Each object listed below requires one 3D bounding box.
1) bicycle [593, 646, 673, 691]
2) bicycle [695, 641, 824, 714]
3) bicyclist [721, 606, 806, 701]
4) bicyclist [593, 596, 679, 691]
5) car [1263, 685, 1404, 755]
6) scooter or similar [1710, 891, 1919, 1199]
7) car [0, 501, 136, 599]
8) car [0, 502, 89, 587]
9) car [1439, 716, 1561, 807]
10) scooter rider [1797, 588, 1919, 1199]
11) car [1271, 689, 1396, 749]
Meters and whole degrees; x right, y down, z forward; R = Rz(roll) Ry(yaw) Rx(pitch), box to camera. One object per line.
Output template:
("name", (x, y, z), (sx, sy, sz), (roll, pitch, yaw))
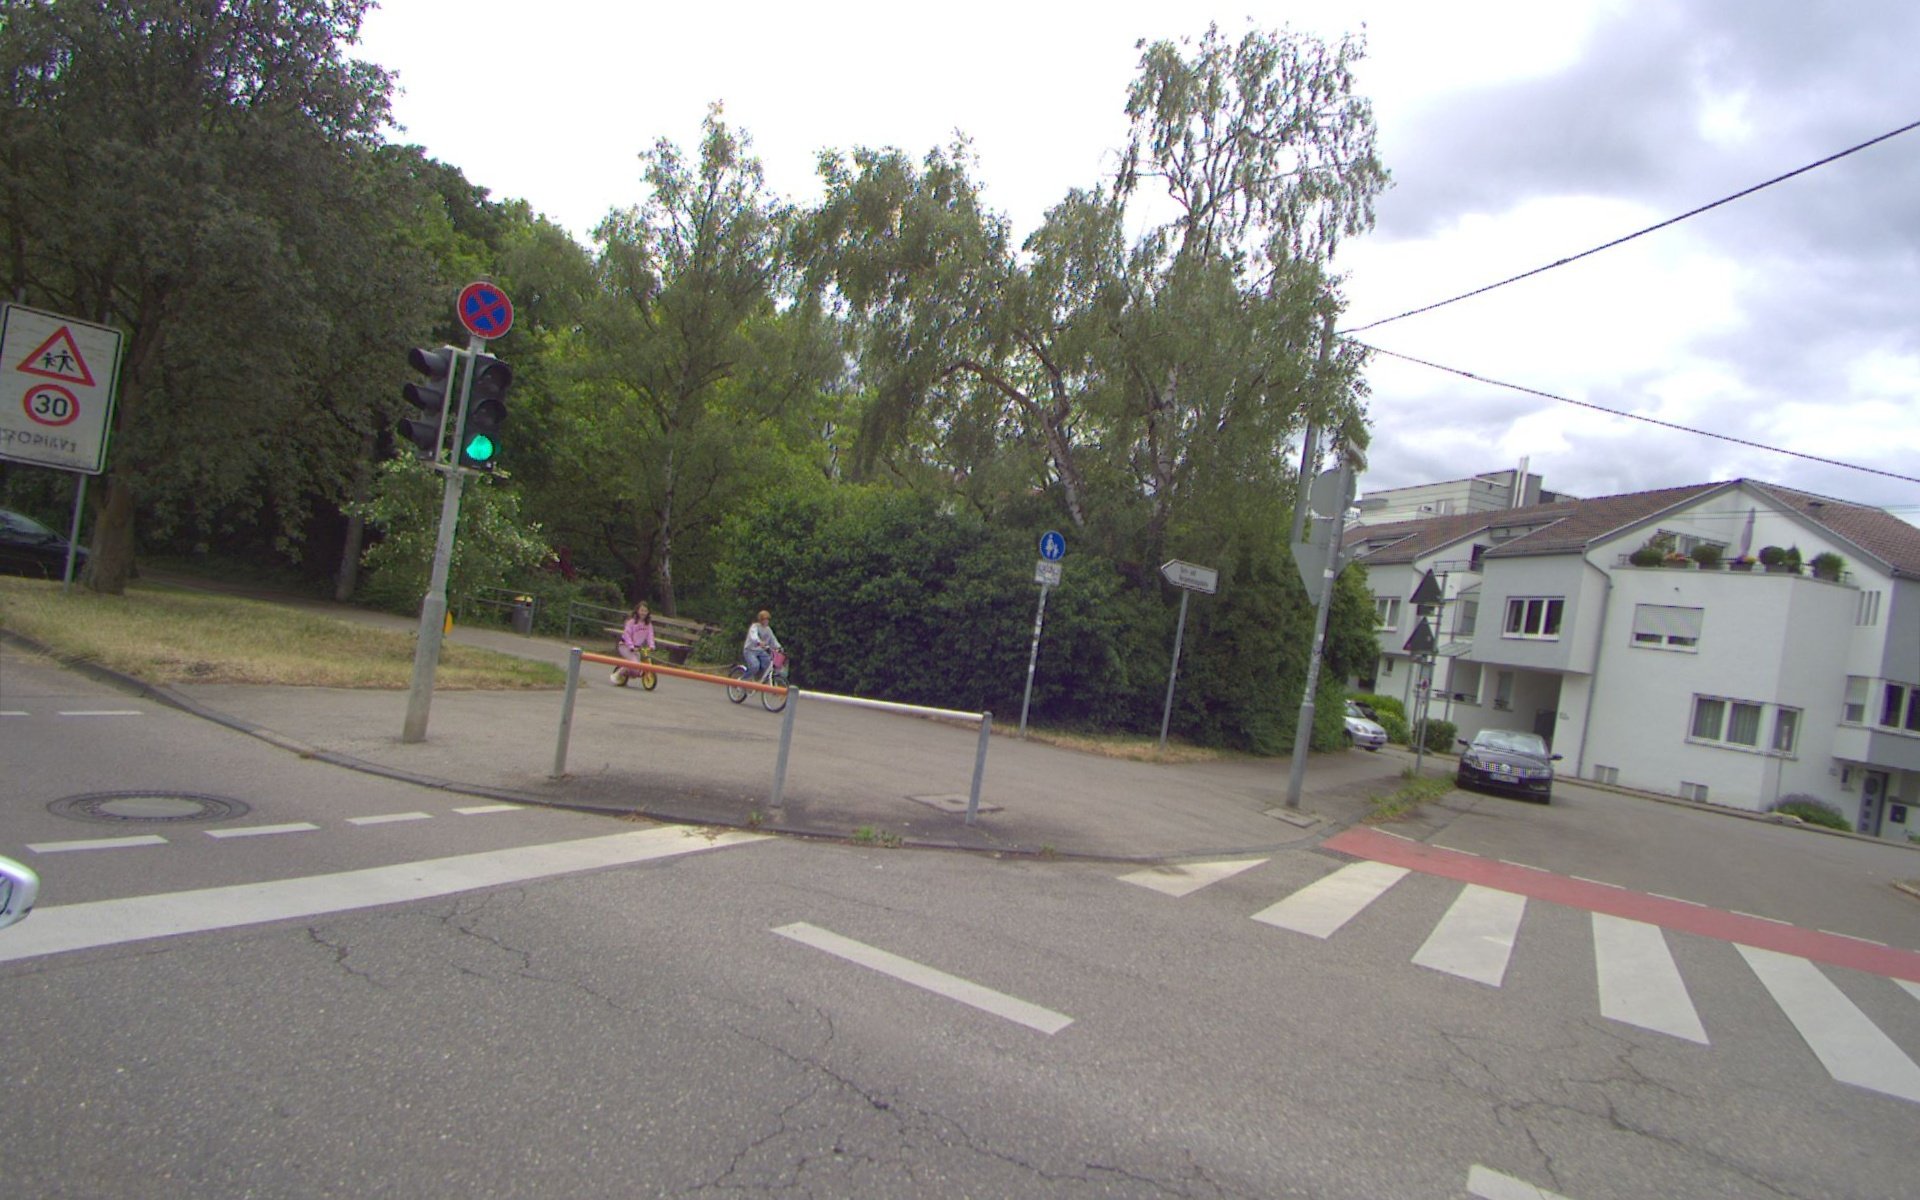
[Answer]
("bicycle", (-4.571, 0.957, 14.057), (0.972, 0.503, 0.519), (6, -2, 31))
("bicycle", (-2.727, 1.039, 13.617), (1.653, 0.767, 0.641), (6, -2, 31))
("bicyclist", (-2.660, 0.724, 13.622), (0.790, 1.175, 0.640), (6, -1, 31))
("bicyclist", (-4.537, 0.610, 14.078), (0.951, 1.201, 0.519), (6, -1, 31))
("car", (11.645, 3.716, 31.518), (1.794, 1.504, 3.633), (10, -2, -37))
("scooter or similar", (2.356, 1.345, 1.823), (1.433, 1.152, 0.684), (9, 0, 23))
("car", (-17.214, -1.035, 17.736), (1.548, 1.492, 3.729), (8, -2, 25))
("car", (-19.245, -1.268, 18.825), (1.546, 1.492, 4.155), (7, -3, 17))
("car", (12.254, 3.554, 22.658), (2.005, 1.455, 4.795), (8, -2, 32))
("scooter rider", (2.445, 0.904, 1.797), (1.175, 1.750, 0.684), (9, 0, 23))
("car", (14.297, 4.543, 38.686), (1.919, 1.562, 4.025), (10, -2, -35))
